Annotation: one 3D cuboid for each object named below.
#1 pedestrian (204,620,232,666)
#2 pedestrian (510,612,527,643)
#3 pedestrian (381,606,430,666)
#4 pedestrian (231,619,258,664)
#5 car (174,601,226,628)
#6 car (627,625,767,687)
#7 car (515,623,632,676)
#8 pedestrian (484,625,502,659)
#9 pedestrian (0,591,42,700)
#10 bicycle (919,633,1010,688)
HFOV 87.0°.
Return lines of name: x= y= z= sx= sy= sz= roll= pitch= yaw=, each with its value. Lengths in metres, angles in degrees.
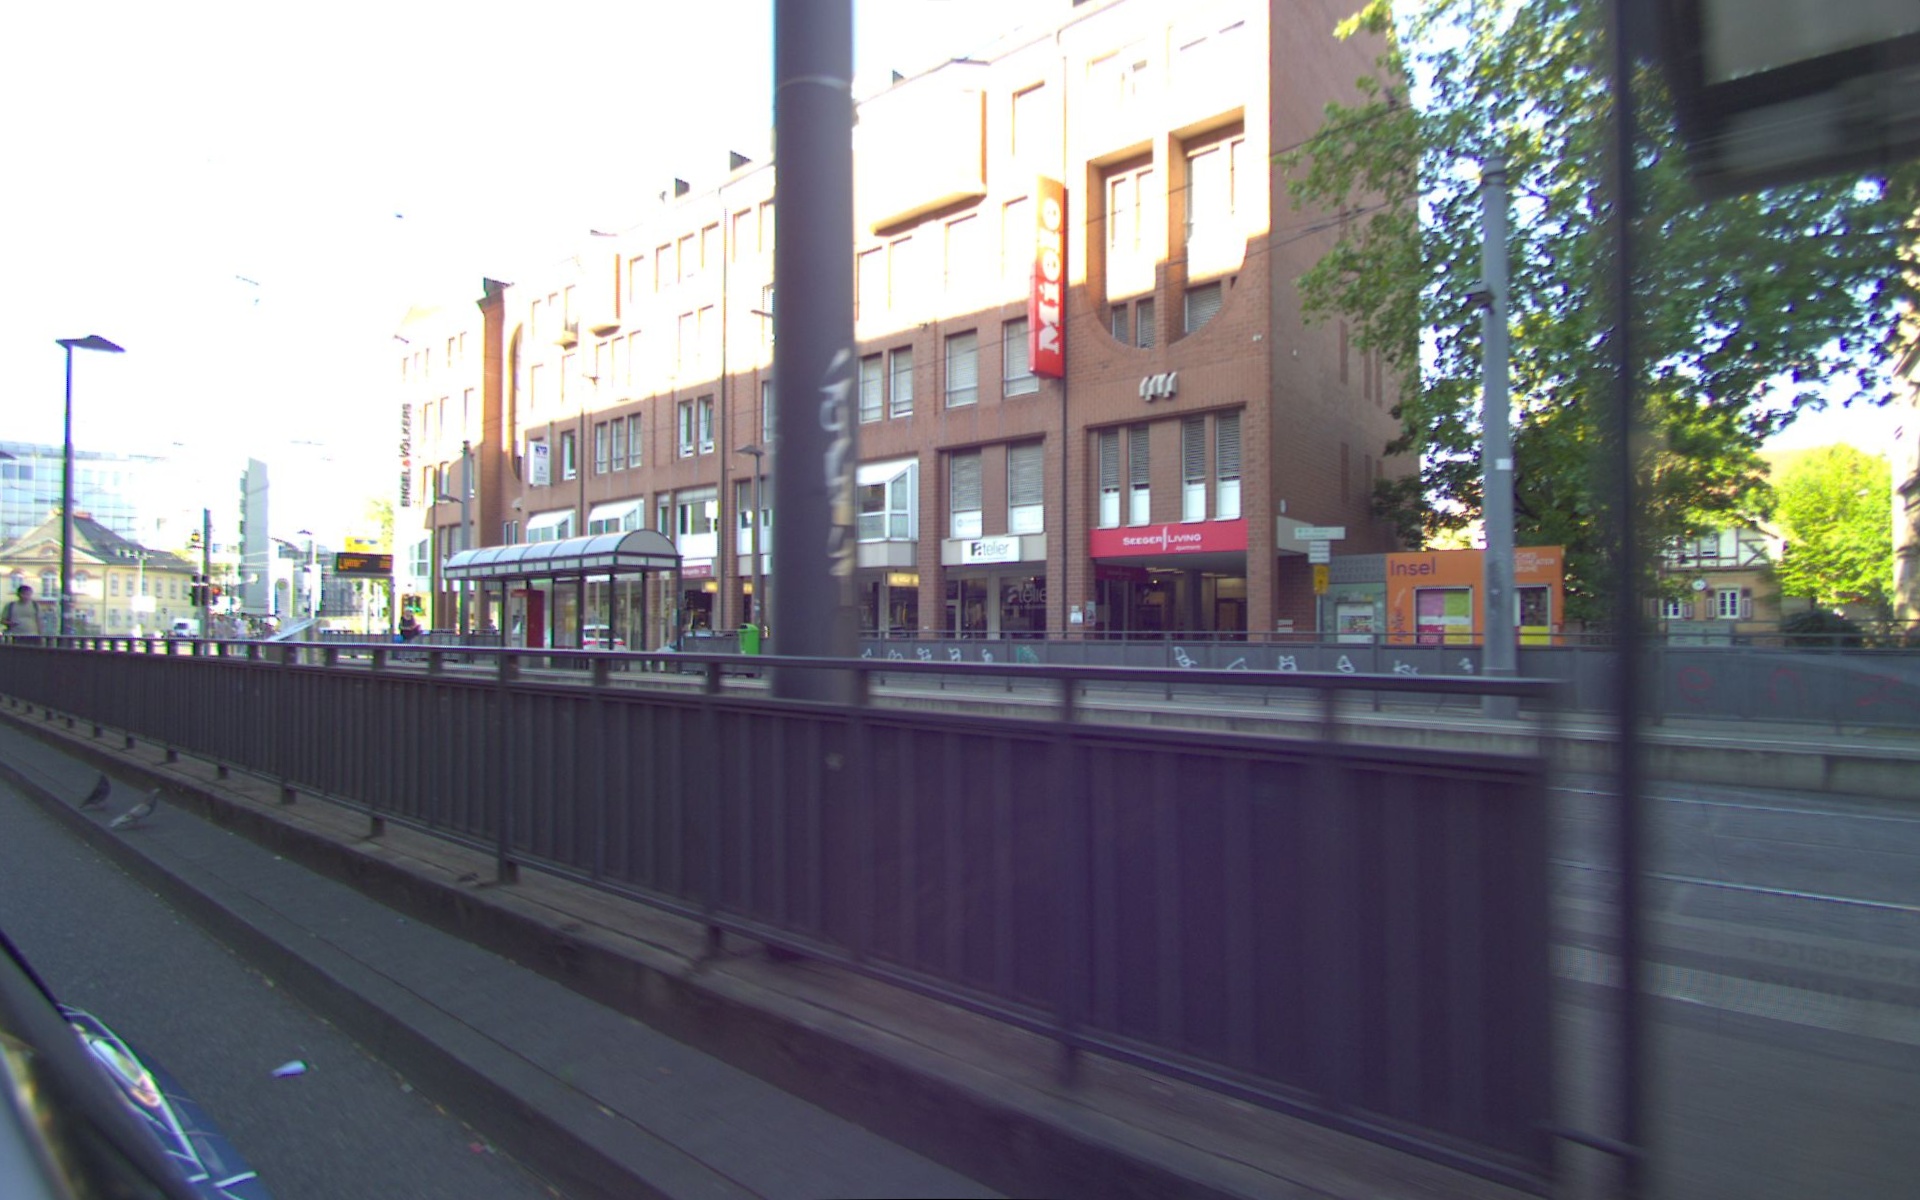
pedestrian: x=-29.844 y=1.700 z=40.724 sx=0.846 sy=1.780 sz=0.813 roll=-2 pitch=1 yaw=-35
pedestrian: x=-23.932 y=1.487 z=54.886 sx=0.636 sy=1.674 sz=0.605 roll=-1 pitch=-2 yaw=39
pedestrian: x=-15.736 y=1.013 z=28.719 sx=0.966 sy=1.674 sz=0.902 roll=-1 pitch=-2 yaw=39
pedestrian: x=-29.273 y=1.674 z=41.429 sx=0.847 sy=1.780 sz=0.813 roll=-2 pitch=1 yaw=-35
car: x=-91.253 y=1.757 z=121.572 sx=2.501 sy=3.071 sz=6.390 roll=2 pitch=-1 yaw=-13
car: x=-7.862 y=1.628 z=30.060 sx=4.289 sy=1.606 sz=1.889 roll=0 pitch=-2 yaw=41
car: x=-13.164 y=1.639 z=34.362 sx=4.289 sy=1.606 sz=1.889 roll=0 pitch=-2 yaw=41
pedestrian: x=-23.549 y=2.103 z=51.037 sx=0.636 sy=1.674 sz=0.605 roll=-1 pitch=-2 yaw=39
pedestrian: x=-16.074 y=0.766 z=17.222 sx=0.605 sy=1.805 sz=0.577 roll=-1 pitch=-1 yaw=39
bicycle: x=0.155 y=1.628 z=27.796 sx=2.578 sy=1.291 sz=0.841 roll=-2 pitch=1 yaw=-42
